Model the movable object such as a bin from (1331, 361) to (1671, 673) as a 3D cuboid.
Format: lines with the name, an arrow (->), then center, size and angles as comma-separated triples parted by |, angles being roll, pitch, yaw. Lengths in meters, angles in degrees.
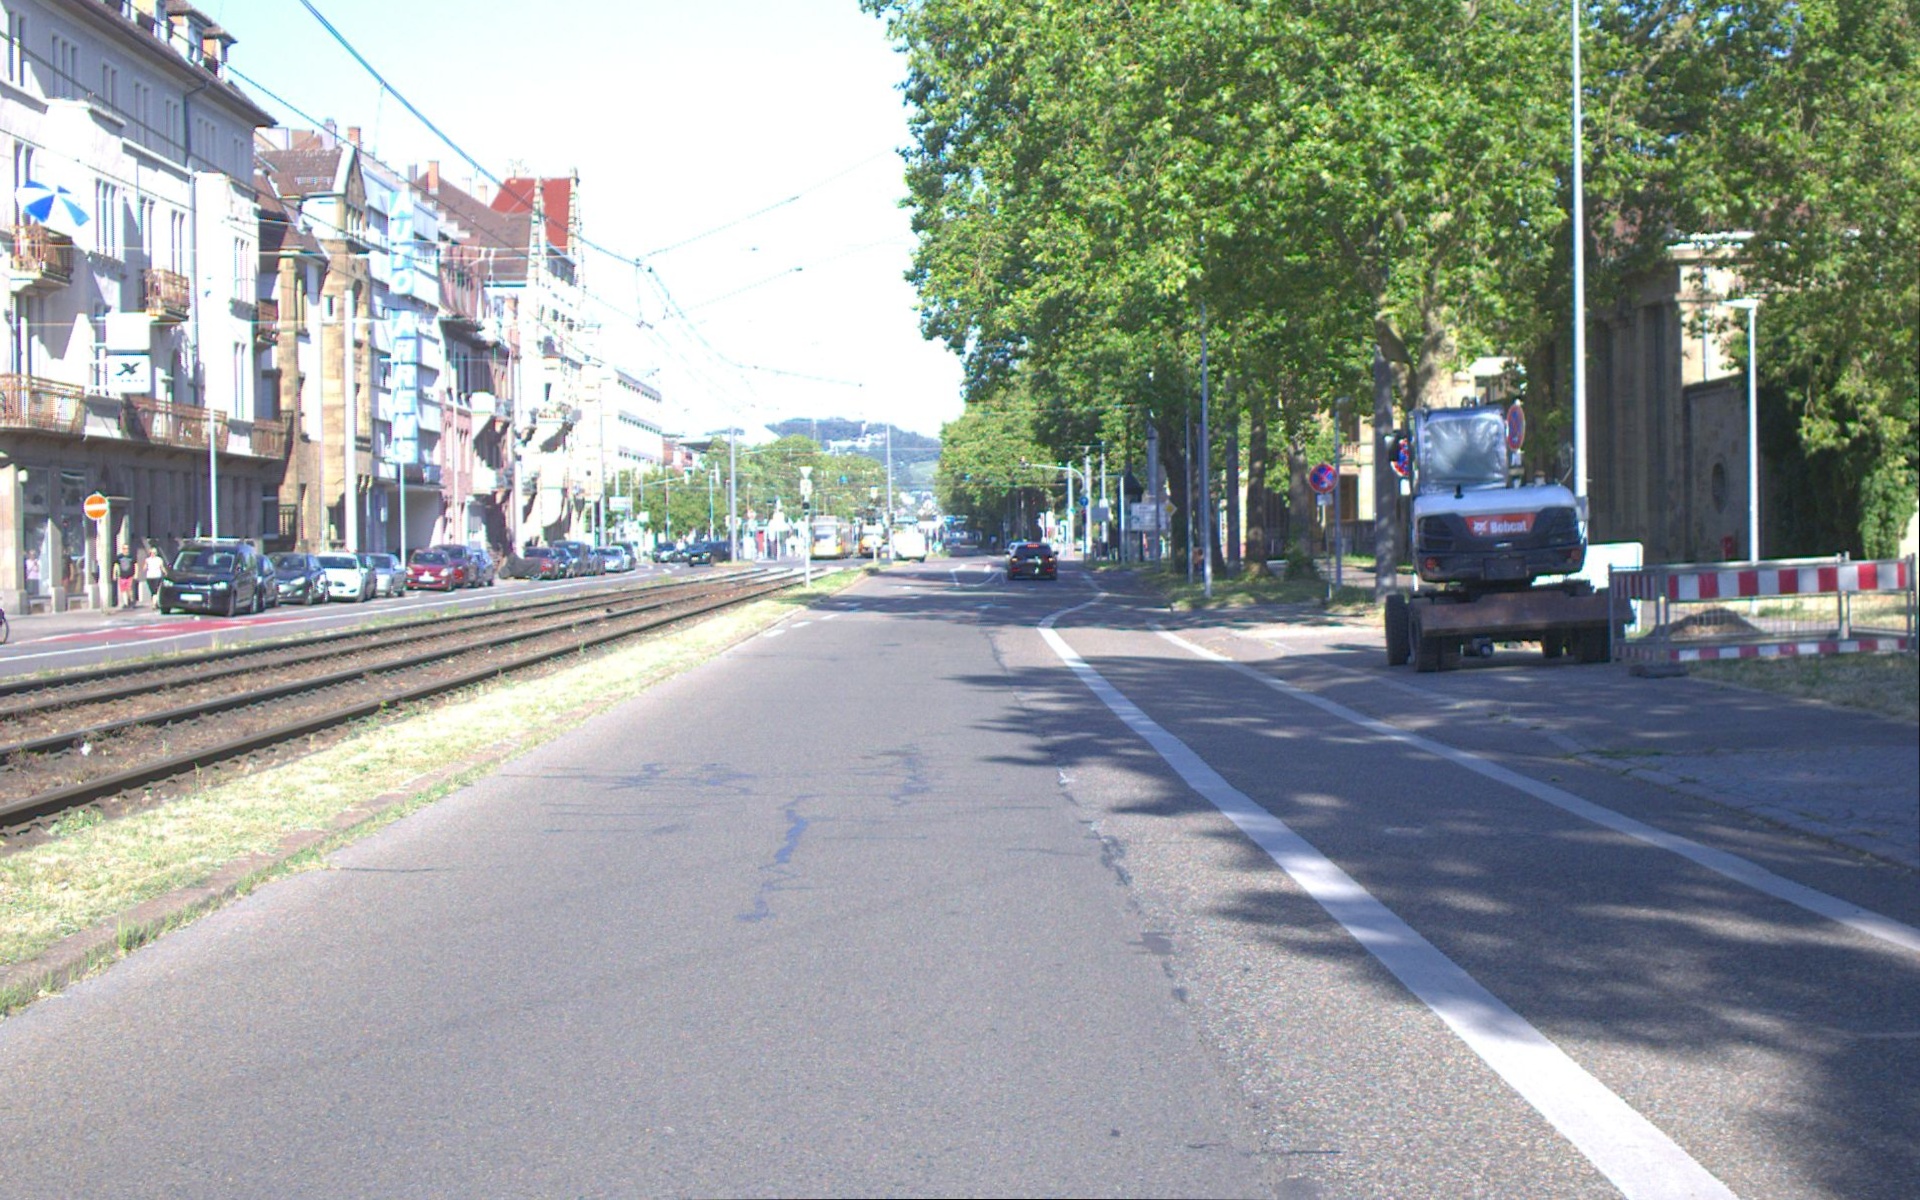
movable object such as a bin -> 6.149, -0.964, 40.198 | 2.744, 3.134, 7.219 | -4, 1, 1

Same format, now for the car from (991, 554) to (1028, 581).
car -> 2.638, -1.753, 183.213 | 1.833, 1.386, 4.159 | 0, 1, -1

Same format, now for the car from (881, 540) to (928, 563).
car -> -3.669, -3.195, 226.570 | 1.794, 1.505, 4.001 | 1, 0, -21

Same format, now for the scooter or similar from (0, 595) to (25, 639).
scooter or similar -> -17.810, 0.311, 62.261 | 1.567, 0.768, 0.807 | -1, 1, 31

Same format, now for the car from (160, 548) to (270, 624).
car -> -18.755, -0.387, 86.731 | 1.862, 1.780, 4.402 | 1, 1, -1

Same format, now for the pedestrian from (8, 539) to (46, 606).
pedestrian -> -23.308, -0.680, 85.878 | 0.639, 1.656, 0.954 | 1, 0, 2

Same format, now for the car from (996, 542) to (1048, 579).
car -> 2.350, -1.522, 131.315 | 1.833, 1.386, 4.159 | 0, 1, -1

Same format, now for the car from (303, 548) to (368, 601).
car -> -18.722, -0.757, 103.175 | 1.635, 1.464, 3.984 | -2, -1, -7

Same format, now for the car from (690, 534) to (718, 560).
car -> -16.452, -3.397, 221.079 | 1.635, 1.596, 4.159 | -2, 1, -2

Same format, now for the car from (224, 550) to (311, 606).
car -> -19.574, -0.629, 97.298 | 1.635, 1.464, 4.159 | 3, 1, -1

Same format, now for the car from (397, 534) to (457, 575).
car -> -19.296, -1.648, 124.533 | 1.833, 1.386, 4.036 | 2, 1, -5

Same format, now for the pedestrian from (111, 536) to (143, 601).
pedestrian -> -21.926, -0.816, 90.477 | 0.589, 1.691, 0.857 | 1, 0, 2

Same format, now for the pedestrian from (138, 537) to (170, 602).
pedestrian -> -21.220, -0.801, 90.483 | 0.589, 1.691, 0.857 | 1, 0, 2

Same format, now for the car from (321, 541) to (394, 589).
car -> -19.644, -1.159, 112.241 | 1.635, 1.464, 4.159 | 1, 1, 0

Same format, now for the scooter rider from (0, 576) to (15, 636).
scooter rider -> -17.778, 0.119, 62.238 | 0.977, 1.085, 0.807 | -1, 1, 31
